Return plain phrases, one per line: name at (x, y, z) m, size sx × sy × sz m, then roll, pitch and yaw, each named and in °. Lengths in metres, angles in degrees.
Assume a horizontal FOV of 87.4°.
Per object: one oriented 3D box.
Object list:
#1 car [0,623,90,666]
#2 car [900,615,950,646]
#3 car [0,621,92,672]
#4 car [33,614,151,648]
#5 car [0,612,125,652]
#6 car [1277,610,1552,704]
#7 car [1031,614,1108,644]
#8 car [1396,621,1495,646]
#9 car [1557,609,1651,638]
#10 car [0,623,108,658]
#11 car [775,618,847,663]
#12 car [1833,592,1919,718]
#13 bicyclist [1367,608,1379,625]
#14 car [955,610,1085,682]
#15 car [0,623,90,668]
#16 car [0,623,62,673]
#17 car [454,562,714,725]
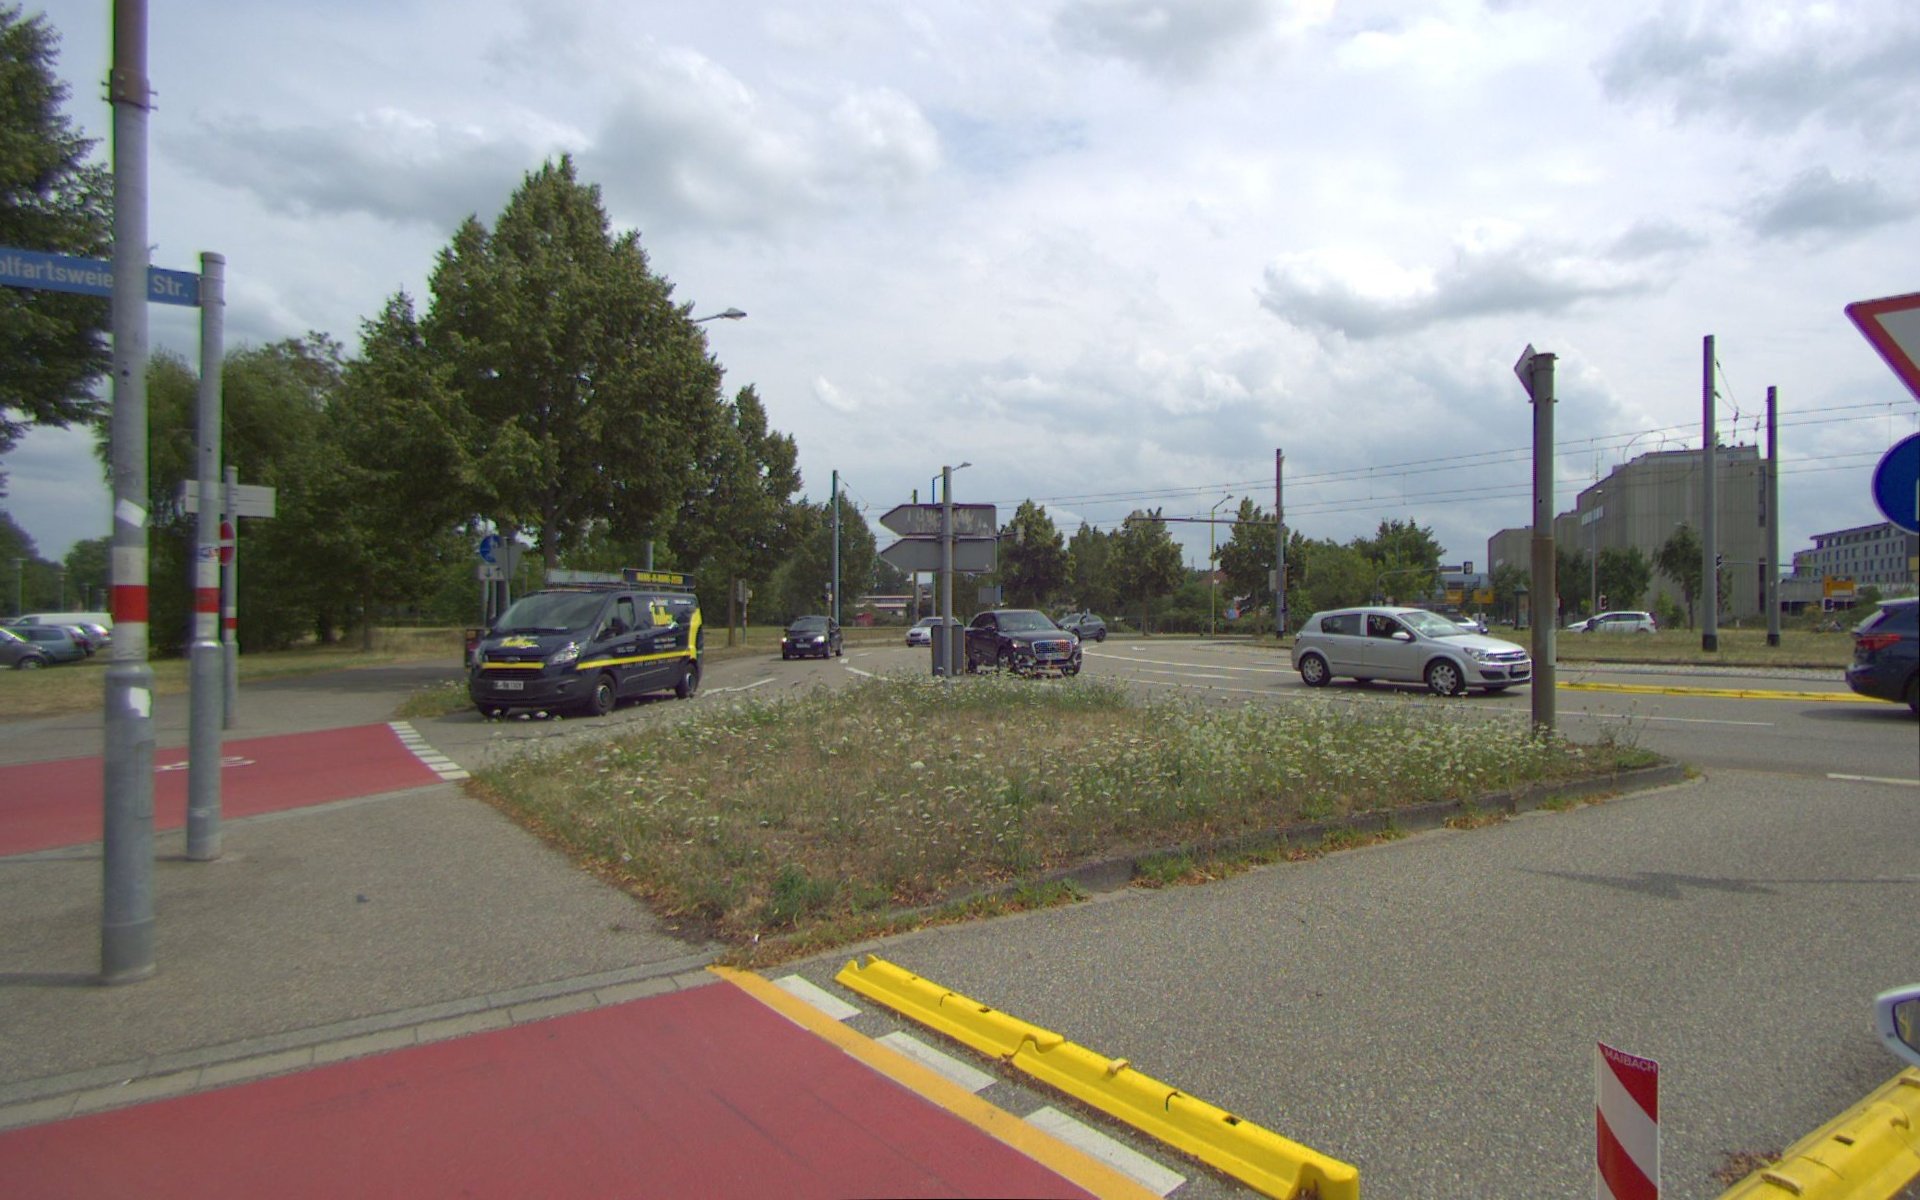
car at (-34.421, 1.587, 35.944) m, size 4.846 × 1.491 × 1.813 m, roll 1°, pitch -1°, yaw -39°
car at (-1.743, 1.522, 51.466) m, size 1.596 × 1.539 × 4.221 m, roll 0°, pitch -1°, yaw 12°
car at (-30.946, 1.519, 32.183) m, size 4.669 × 1.491 × 1.811 m, roll -2°, pitch 1°, yaw -41°
car at (-54.902, 1.929, 63.687) m, size 5.521 × 2.083 × 2.177 m, roll 1°, pitch -1°, yaw -39°
car at (-48.170, 1.678, 53.595) m, size 5.526 × 2.083 × 2.175 m, roll 1°, pitch -1°, yaw -41°
car at (7.977, 0.923, 18.021) m, size 1.810 × 1.482 × 4.222 m, roll 0°, pitch -1°, yaw -32°
car at (6.171, 1.587, 56.311) m, size 2.037 × 1.572 × 4.447 m, roll -1°, pitch -1°, yaw 44°
car at (29.457, 2.010, 61.059) m, size 5.082 × 1.502 × 2.000 m, roll 0°, pitch -1°, yaw -1°
car at (38.037, 1.385, 59.448) m, size 4.267 × 1.688 × 1.939 m, roll 0°, pitch -1°, yaw 14°
car at (-41.832, 1.815, 45.700) m, size 4.564 × 1.491 × 1.813 m, roll 1°, pitch -1°, yaw -39°
car at (-5.121, 1.394, 34.896) m, size 1.599 × 1.433 × 3.724 m, roll -1°, pitch -2°, yaw 6°
car at (13.404, 0.674, 12.122) m, size 4.308 × 1.554 × 1.724 m, roll -1°, pitch -1°, yaw 41°
bicyclist at (33.776, 1.357, 82.189) m, size 0.660 × 1.428 × 0.865 m, roll 0°, pitch -1°, yaw 5°
car at (1.293, 1.006, 23.532) m, size 1.713 × 1.539 × 4.132 m, roll 0°, pitch -1°, yaw -17°
car at (-32.863, 1.540, 34.150) m, size 4.846 × 1.491 × 1.813 m, roll 1°, pitch -1°, yaw -39°
car at (-29.181, 1.487, 30.386) m, size 1.464 × 1.442 × 2.897 m, roll -2°, pitch 0°, yaw 45°
car at (-5.968, 0.656, 16.786) m, size 1.959 × 2.303 × 5.163 m, roll 0°, pitch -1°, yaw 6°
